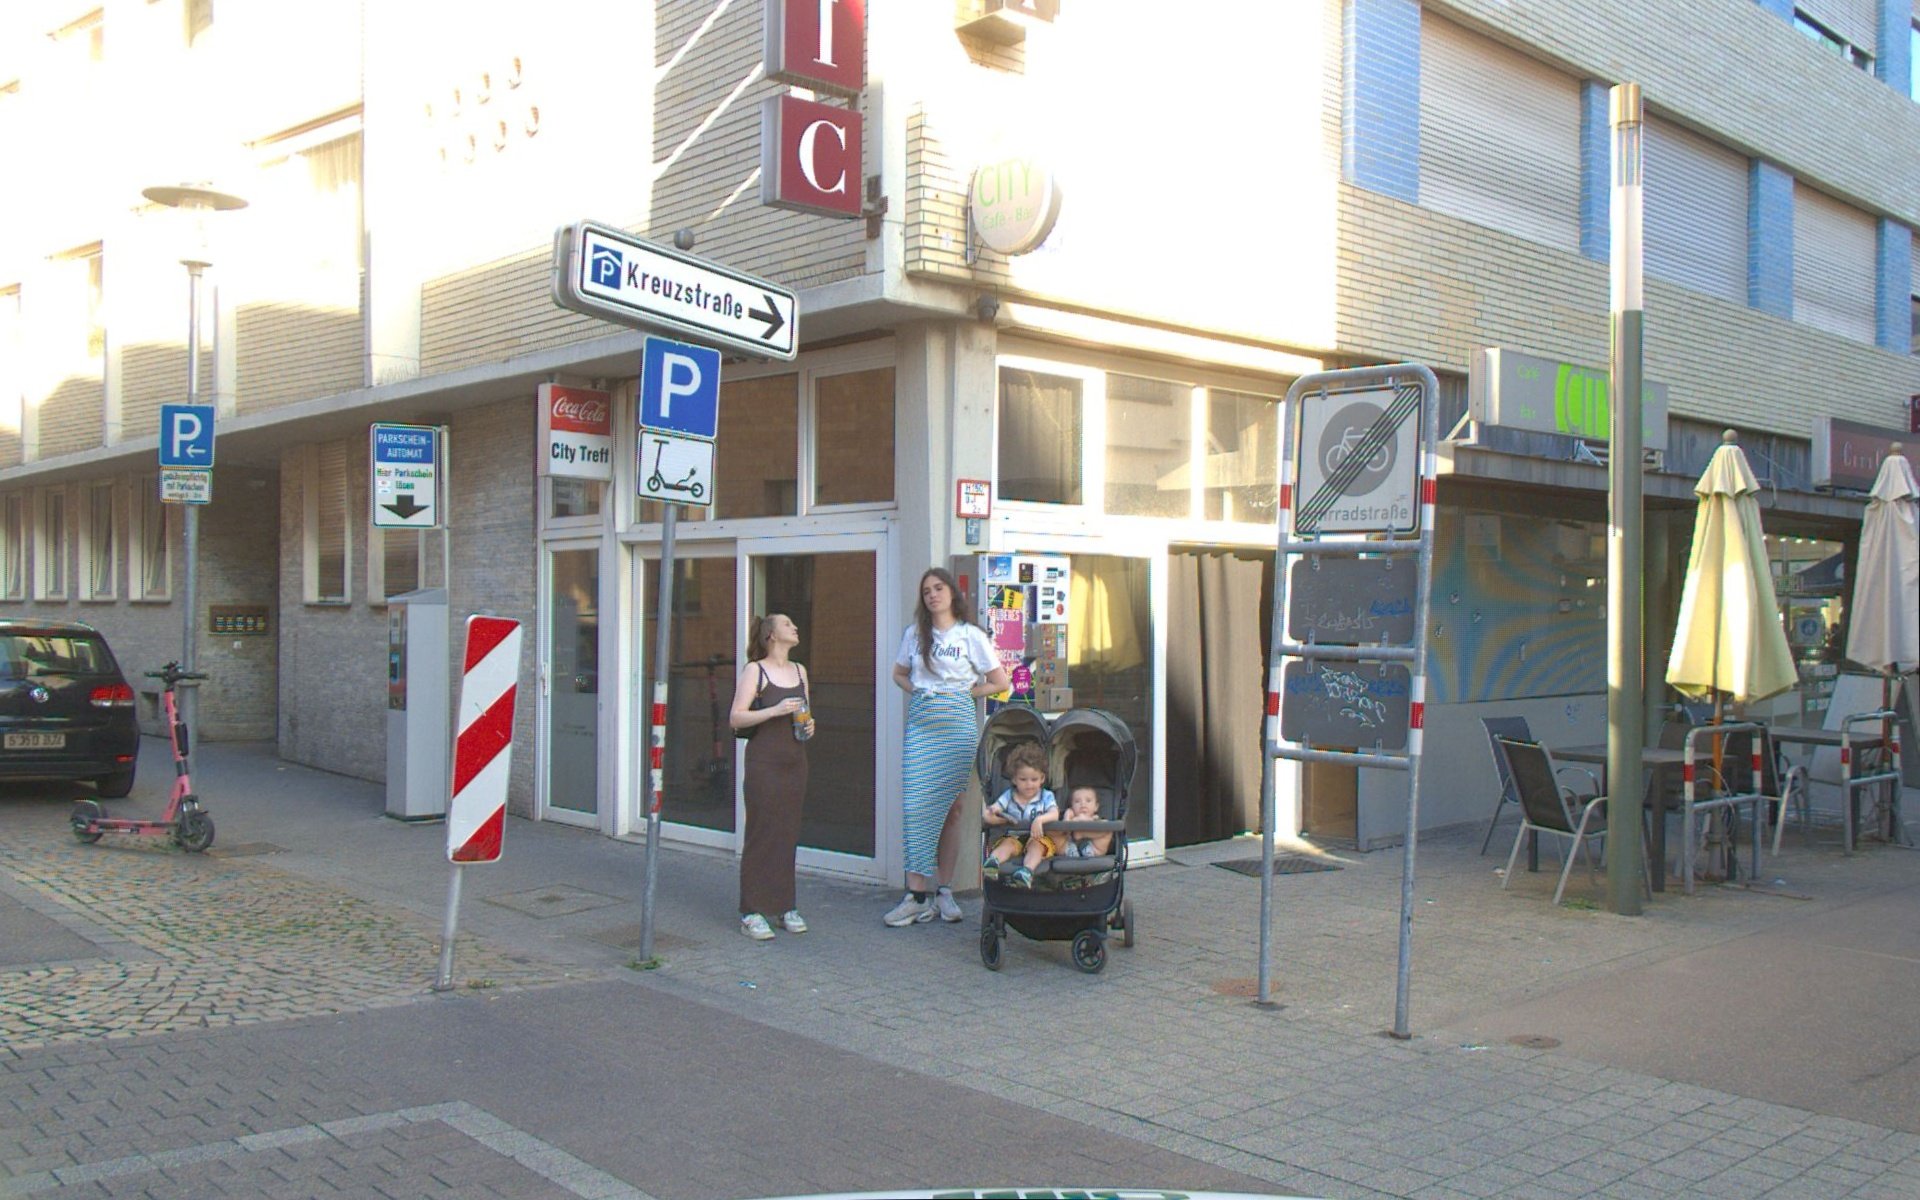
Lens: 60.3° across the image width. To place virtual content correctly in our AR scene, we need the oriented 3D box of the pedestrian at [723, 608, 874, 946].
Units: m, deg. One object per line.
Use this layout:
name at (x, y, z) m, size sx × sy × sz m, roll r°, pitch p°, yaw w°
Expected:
pedestrian at (-0.793, 0.835, 8.120) m, size 0.567 × 1.567 × 0.436 m, roll -2°, pitch 1°, yaw -34°

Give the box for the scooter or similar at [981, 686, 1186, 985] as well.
scooter or similar at (0.535, 1.036, 7.598) m, size 0.851 × 1.197 × 1.045 m, roll 1°, pitch 1°, yaw 0°

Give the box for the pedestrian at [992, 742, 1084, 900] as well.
pedestrian at (0.360, 0.989, 7.503) m, size 0.324 × 0.644 × 0.509 m, roll 0°, pitch -1°, yaw 13°

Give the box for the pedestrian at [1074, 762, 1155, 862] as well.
pedestrian at (0.702, 0.958, 7.500) m, size 0.324 × 0.405 × 0.313 m, roll 0°, pitch -1°, yaw 13°

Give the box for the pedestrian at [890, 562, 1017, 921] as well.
pedestrian at (-0.024, 0.701, 8.492) m, size 0.612 × 1.767 × 0.622 m, roll 0°, pitch -1°, yaw 1°

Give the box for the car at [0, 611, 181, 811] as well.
car at (-8.601, 0.865, 14.617) m, size 1.813 × 1.531 × 4.528 m, roll 5°, pitch -3°, yaw -42°

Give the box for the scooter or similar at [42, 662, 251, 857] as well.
scooter or similar at (-5.456, 1.045, 11.098) m, size 1.275 × 1.215 × 0.494 m, roll 0°, pitch -1°, yaw 19°

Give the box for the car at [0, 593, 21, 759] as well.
car at (-12.260, 0.752, 18.495) m, size 1.983 × 1.732 × 4.767 m, roll 4°, pitch -3°, yaw -42°
